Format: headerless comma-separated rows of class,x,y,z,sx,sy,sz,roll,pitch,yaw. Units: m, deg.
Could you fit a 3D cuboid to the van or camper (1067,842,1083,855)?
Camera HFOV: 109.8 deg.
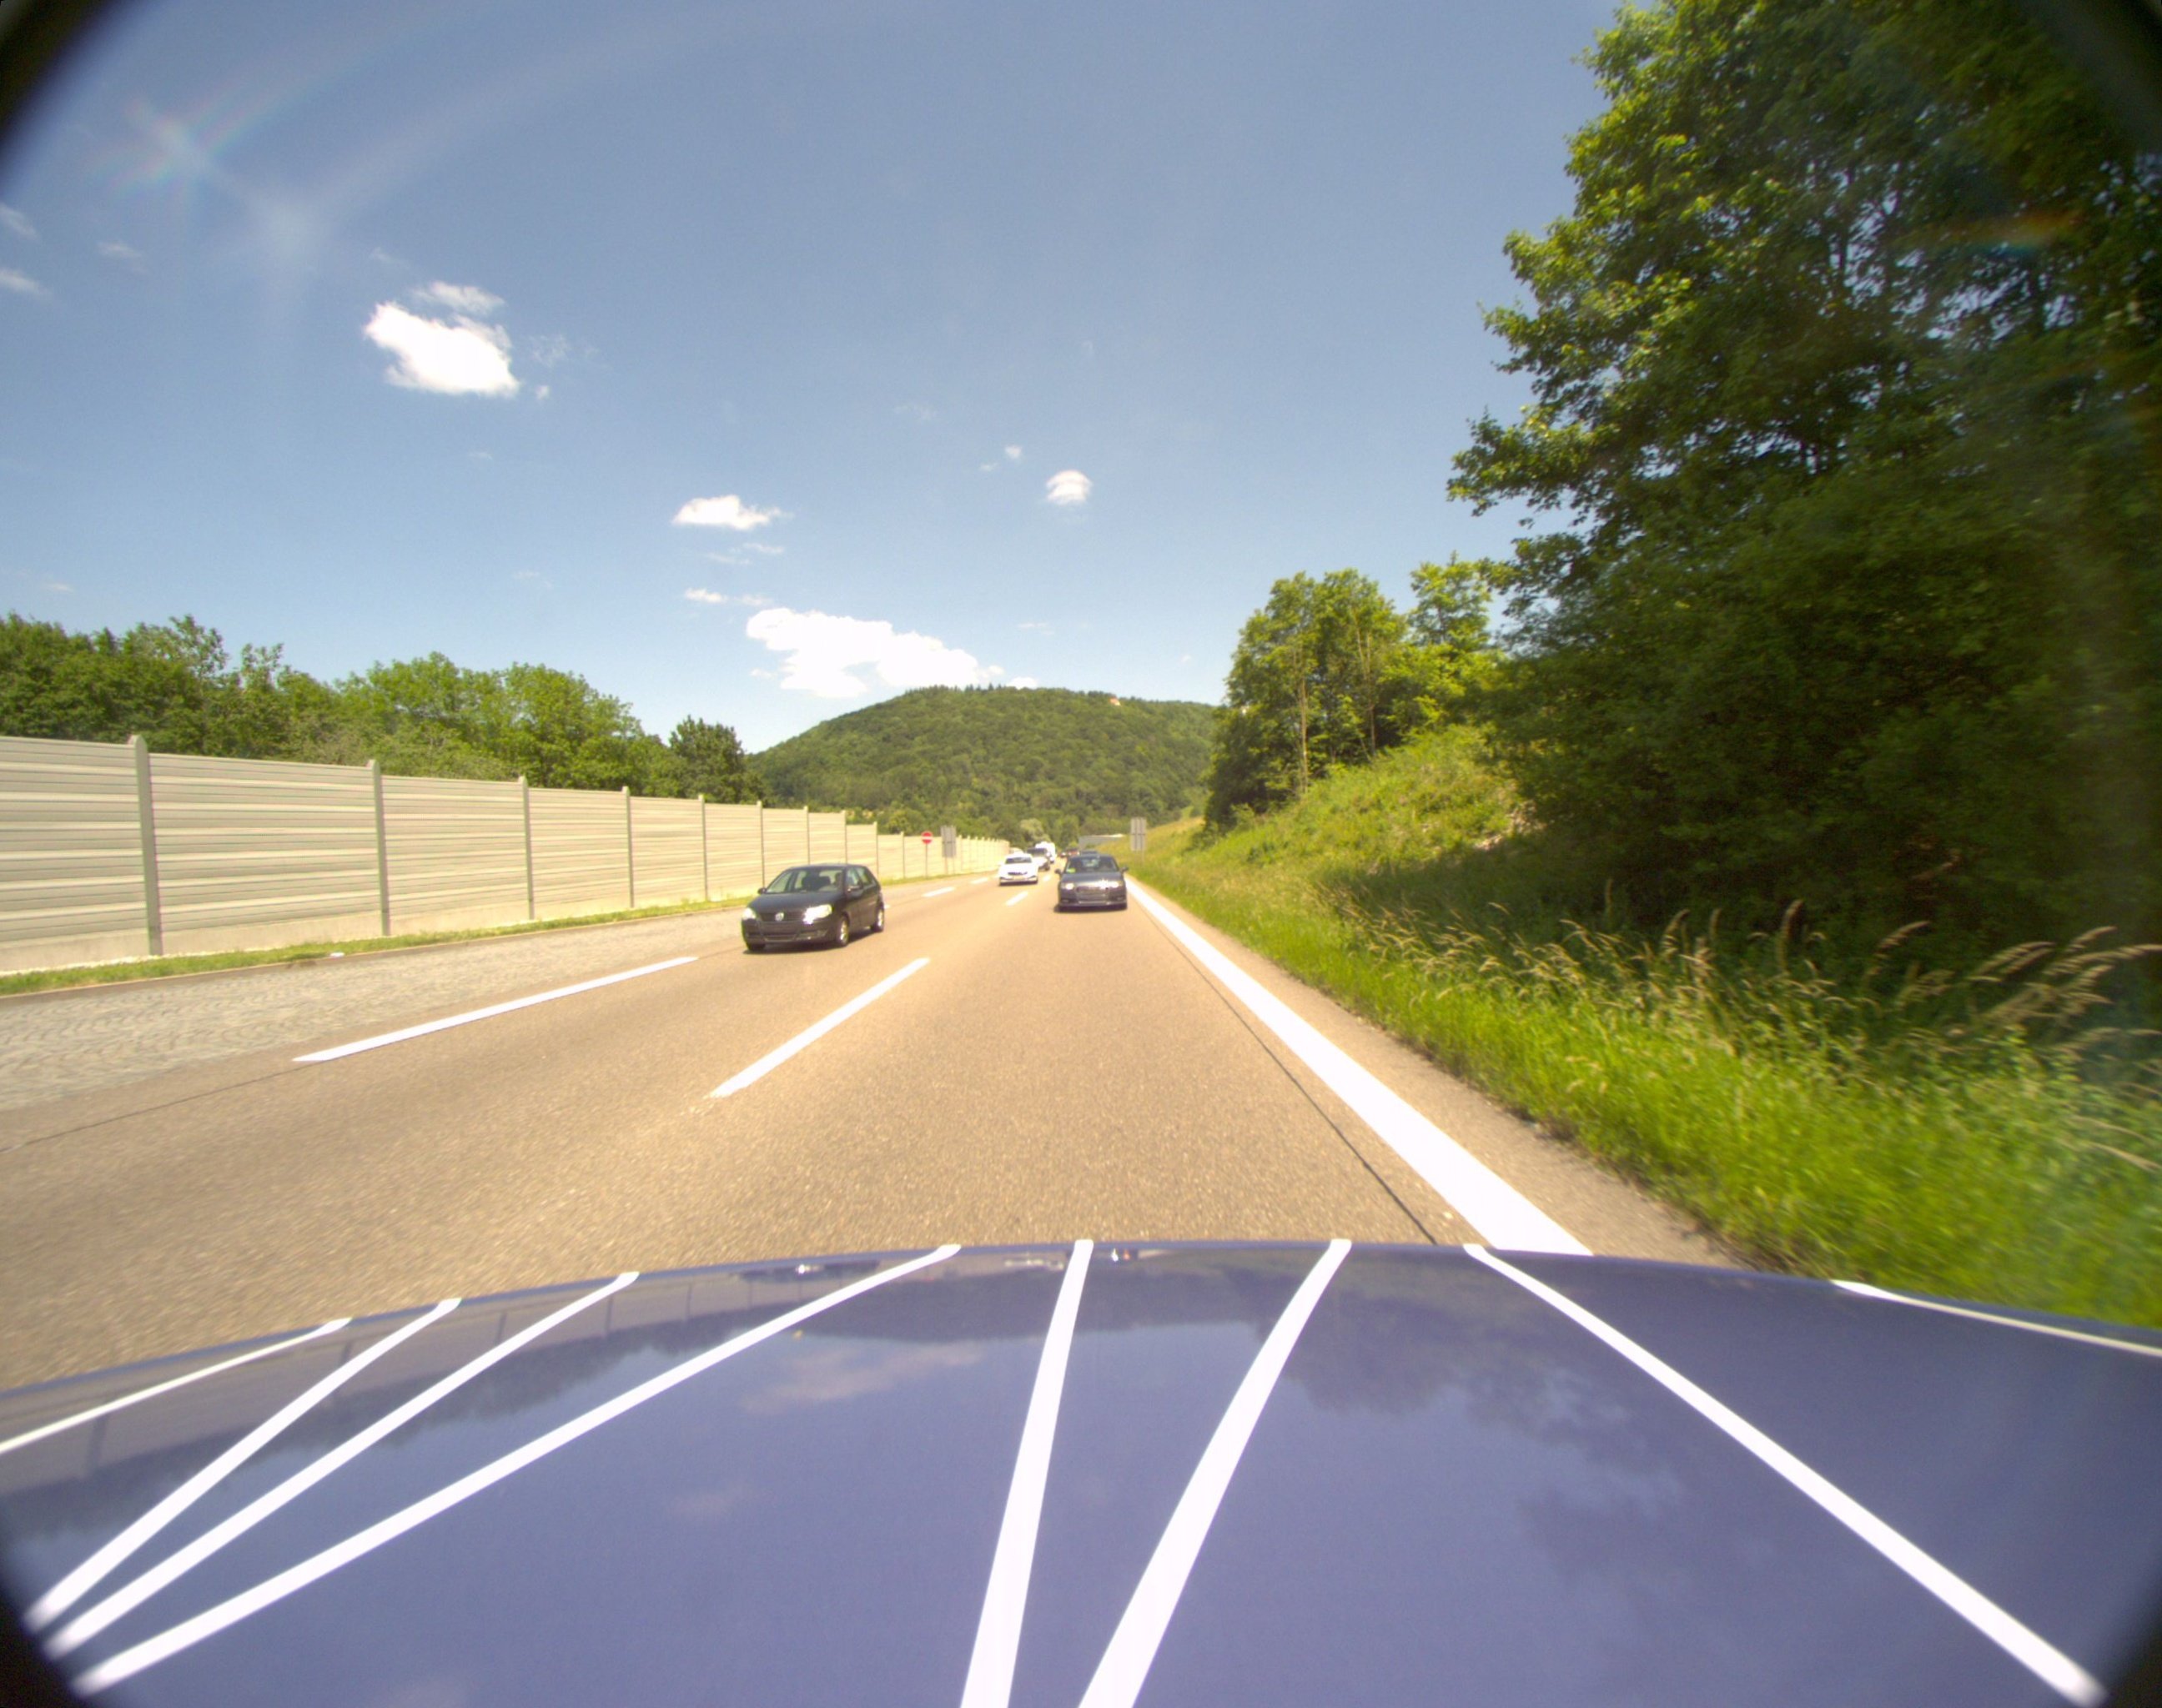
van or camper,-0.902,-0.805,115.040,1.818,1.856,3.610,-4,1,-8

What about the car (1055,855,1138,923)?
car,0.409,0.765,18.566,1.755,1.382,4.055,-2,1,2

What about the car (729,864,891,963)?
car,-4.834,0.985,14.135,1.696,1.414,3.837,-3,1,-2

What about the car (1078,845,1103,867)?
car,0.689,0.105,55.565,1.696,1.422,3.462,-3,1,1

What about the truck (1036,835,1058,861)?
truck,-4.508,-0.864,101.200,2.603,3.090,6.855,-6,1,-2

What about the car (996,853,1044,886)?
car,-2.914,0.710,36.977,1.907,1.422,3.722,-3,0,0

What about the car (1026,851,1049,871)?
car,-3.251,0.514,57.354,1.489,1.375,3.738,-2,1,0

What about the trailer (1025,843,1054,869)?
trailer,-3.314,0.152,61.193,1.998,1.958,3.999,-2,1,0
